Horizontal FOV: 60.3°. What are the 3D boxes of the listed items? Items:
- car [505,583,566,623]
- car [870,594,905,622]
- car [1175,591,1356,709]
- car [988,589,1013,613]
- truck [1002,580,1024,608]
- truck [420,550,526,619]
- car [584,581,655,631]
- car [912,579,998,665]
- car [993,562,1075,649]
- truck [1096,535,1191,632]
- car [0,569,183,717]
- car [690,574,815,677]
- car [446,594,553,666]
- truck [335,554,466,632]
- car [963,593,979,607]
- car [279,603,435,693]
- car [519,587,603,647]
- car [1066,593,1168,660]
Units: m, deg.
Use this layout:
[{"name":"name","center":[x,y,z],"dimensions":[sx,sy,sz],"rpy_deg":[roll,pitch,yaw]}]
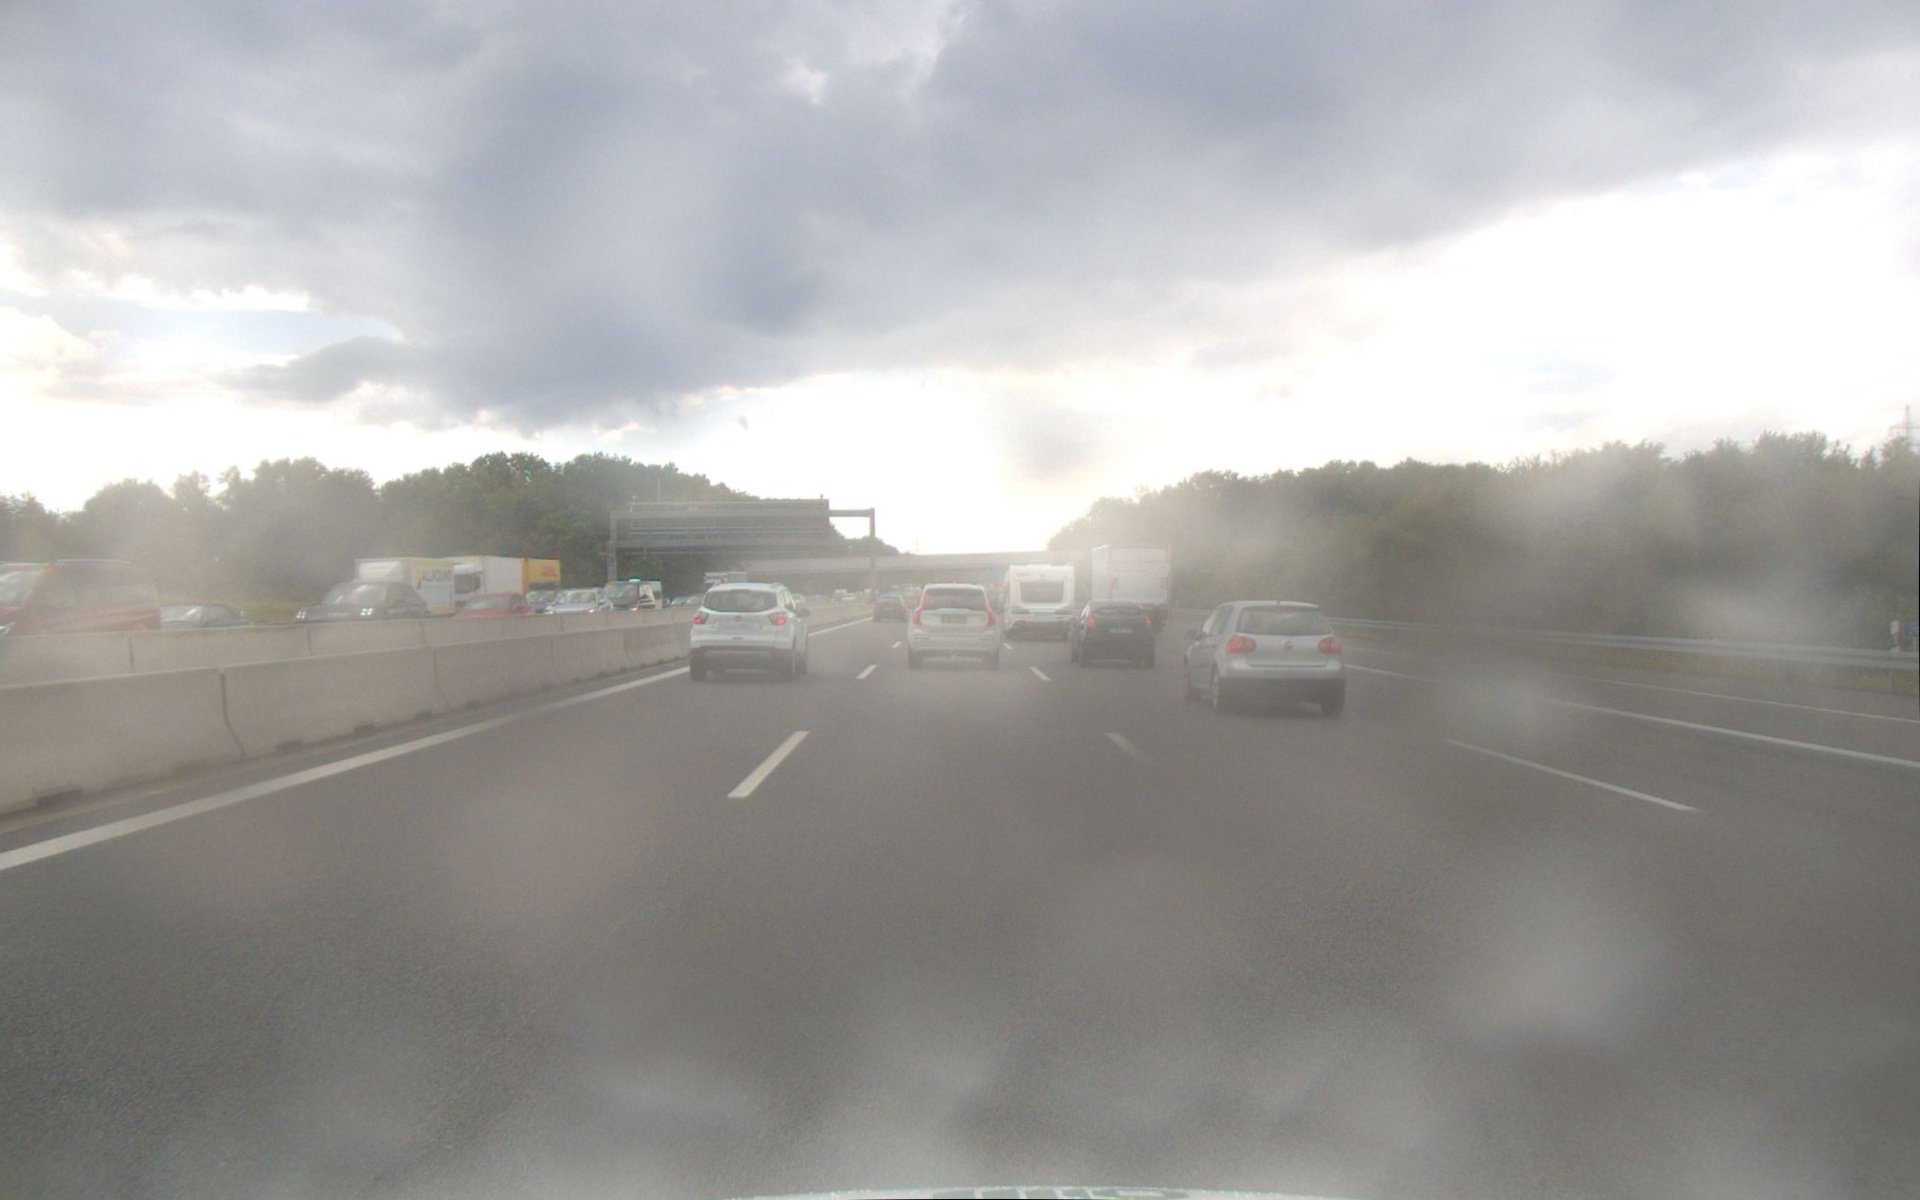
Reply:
[{"name":"car","center":[-22.227,0.135,86.785],"dimensions":[1.953,2.049,5.345],"rpy_deg":[0,0,-2]},{"name":"car","center":[-4.050,0.425,92.945],"dimensions":[1.744,1.507,4.353],"rpy_deg":[0,0,0]},{"name":"car","center":[4.175,0.637,23.194],"dimensions":[1.759,1.503,4.037],"rpy_deg":[0,0,-1]},{"name":"car","center":[3.269,0.089,134.015],"dimensions":[2.001,1.855,4.904],"rpy_deg":[0,0,1]},{"name":"truck","center":[7.545,-0.899,236.142],"dimensions":[2.846,3.876,7.274],"rpy_deg":[0,0,1]},{"name":"truck","center":[-27.467,-0.849,93.826],"dimensions":[2.819,3.676,10.312],"rpy_deg":[0,0,1]},{"name":"car","center":[-14.701,0.246,71.740],"dimensions":[1.953,2.049,5.757],"rpy_deg":[0,0,-1]},{"name":"car","center":[-0.137,0.441,35.756],"dimensions":[1.745,1.746,4.352],"rpy_deg":[0,0,-1]},{"name":"car","center":[2.603,0.177,59.904],"dimensions":[2.515,2.946,7.532],"rpy_deg":[0,0,-1]},{"name":"truck","center":[7.527,-0.656,69.226],"dimensions":[3.068,3.774,9.849],"rpy_deg":[0,0,1]},{"name":"car","center":[-14.270,0.583,25.626],"dimensions":[1.953,2.049,5.417],"rpy_deg":[0,0,-1]},{"name":"car","center":[-3.690,0.402,30.130],"dimensions":[1.778,1.719,4.851],"rpy_deg":[0,1,-1]},{"name":"car","center":[-13.810,0.851,49.913],"dimensions":[1.953,2.049,4.686],"rpy_deg":[0,0,-1]},{"name":"truck","center":[-25.444,-0.317,75.744],"dimensions":[2.850,3.348,9.201],"rpy_deg":[0,0,0]},{"name":"car","center":[1.366,-0.012,210.527],"dimensions":[1.843,1.715,3.998],"rpy_deg":[0,0,-3]},{"name":"car","center":[-13.874,1.050,38.326],"dimensions":[1.953,1.937,4.503],"rpy_deg":[0,0,0]},{"name":"car","center":[-14.164,0.562,58.970],"dimensions":[1.953,2.049,4.424],"rpy_deg":[0,0,0]},{"name":"car","center":[3.515,0.562,37.733],"dimensions":[1.846,1.431,4.281],"rpy_deg":[0,0,-1]}]
